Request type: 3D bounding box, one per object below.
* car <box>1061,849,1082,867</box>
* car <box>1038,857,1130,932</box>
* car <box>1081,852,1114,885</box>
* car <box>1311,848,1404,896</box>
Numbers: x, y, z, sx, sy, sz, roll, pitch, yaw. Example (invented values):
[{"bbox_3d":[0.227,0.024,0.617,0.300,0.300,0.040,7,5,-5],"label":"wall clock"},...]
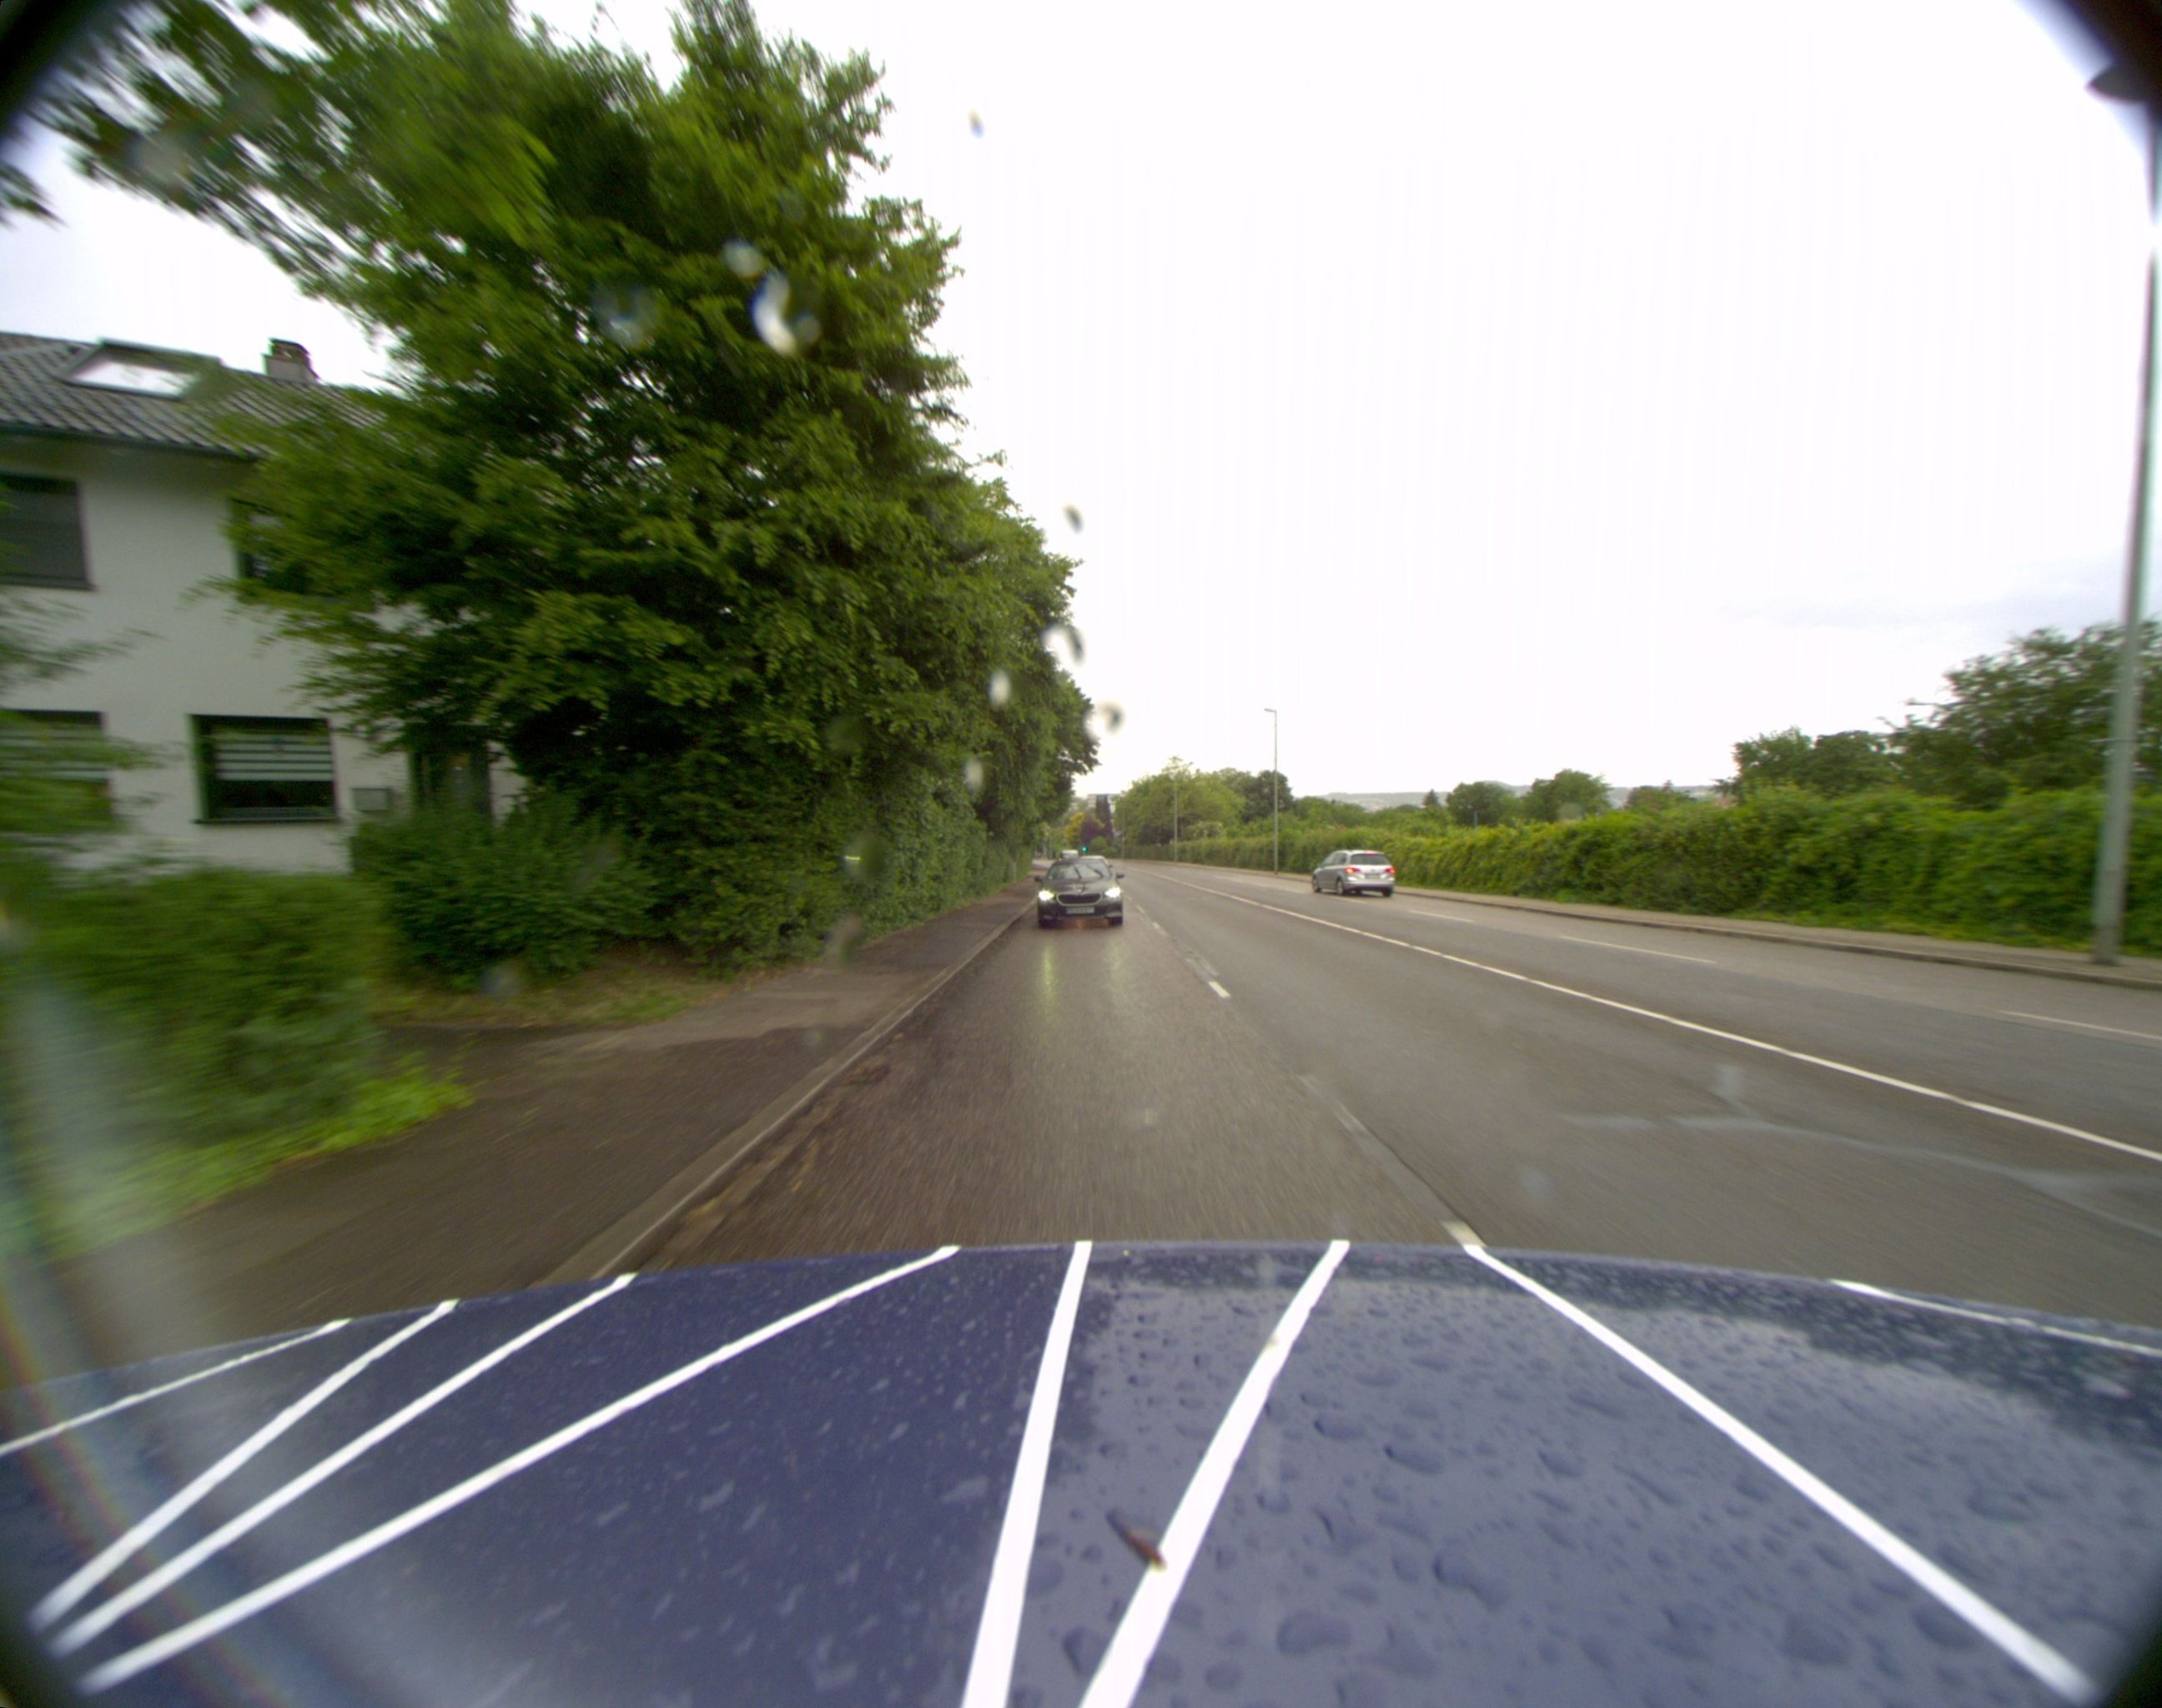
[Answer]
[{"bbox_3d":[-0.933,0.340,72.638,1.703,1.670,4.281,-1,0,-4],"label":"car"},{"bbox_3d":[-0.043,0.859,18.096,1.846,1.371,4.281,-4,1,-3],"label":"car"},{"bbox_3d":[0.865,0.678,38.053,1.550,1.505,4.283,-1,0,2],"label":"car"},{"bbox_3d":[9.585,0.576,26.665,1.761,1.559,3.999,0,0,-1],"label":"car"}]
